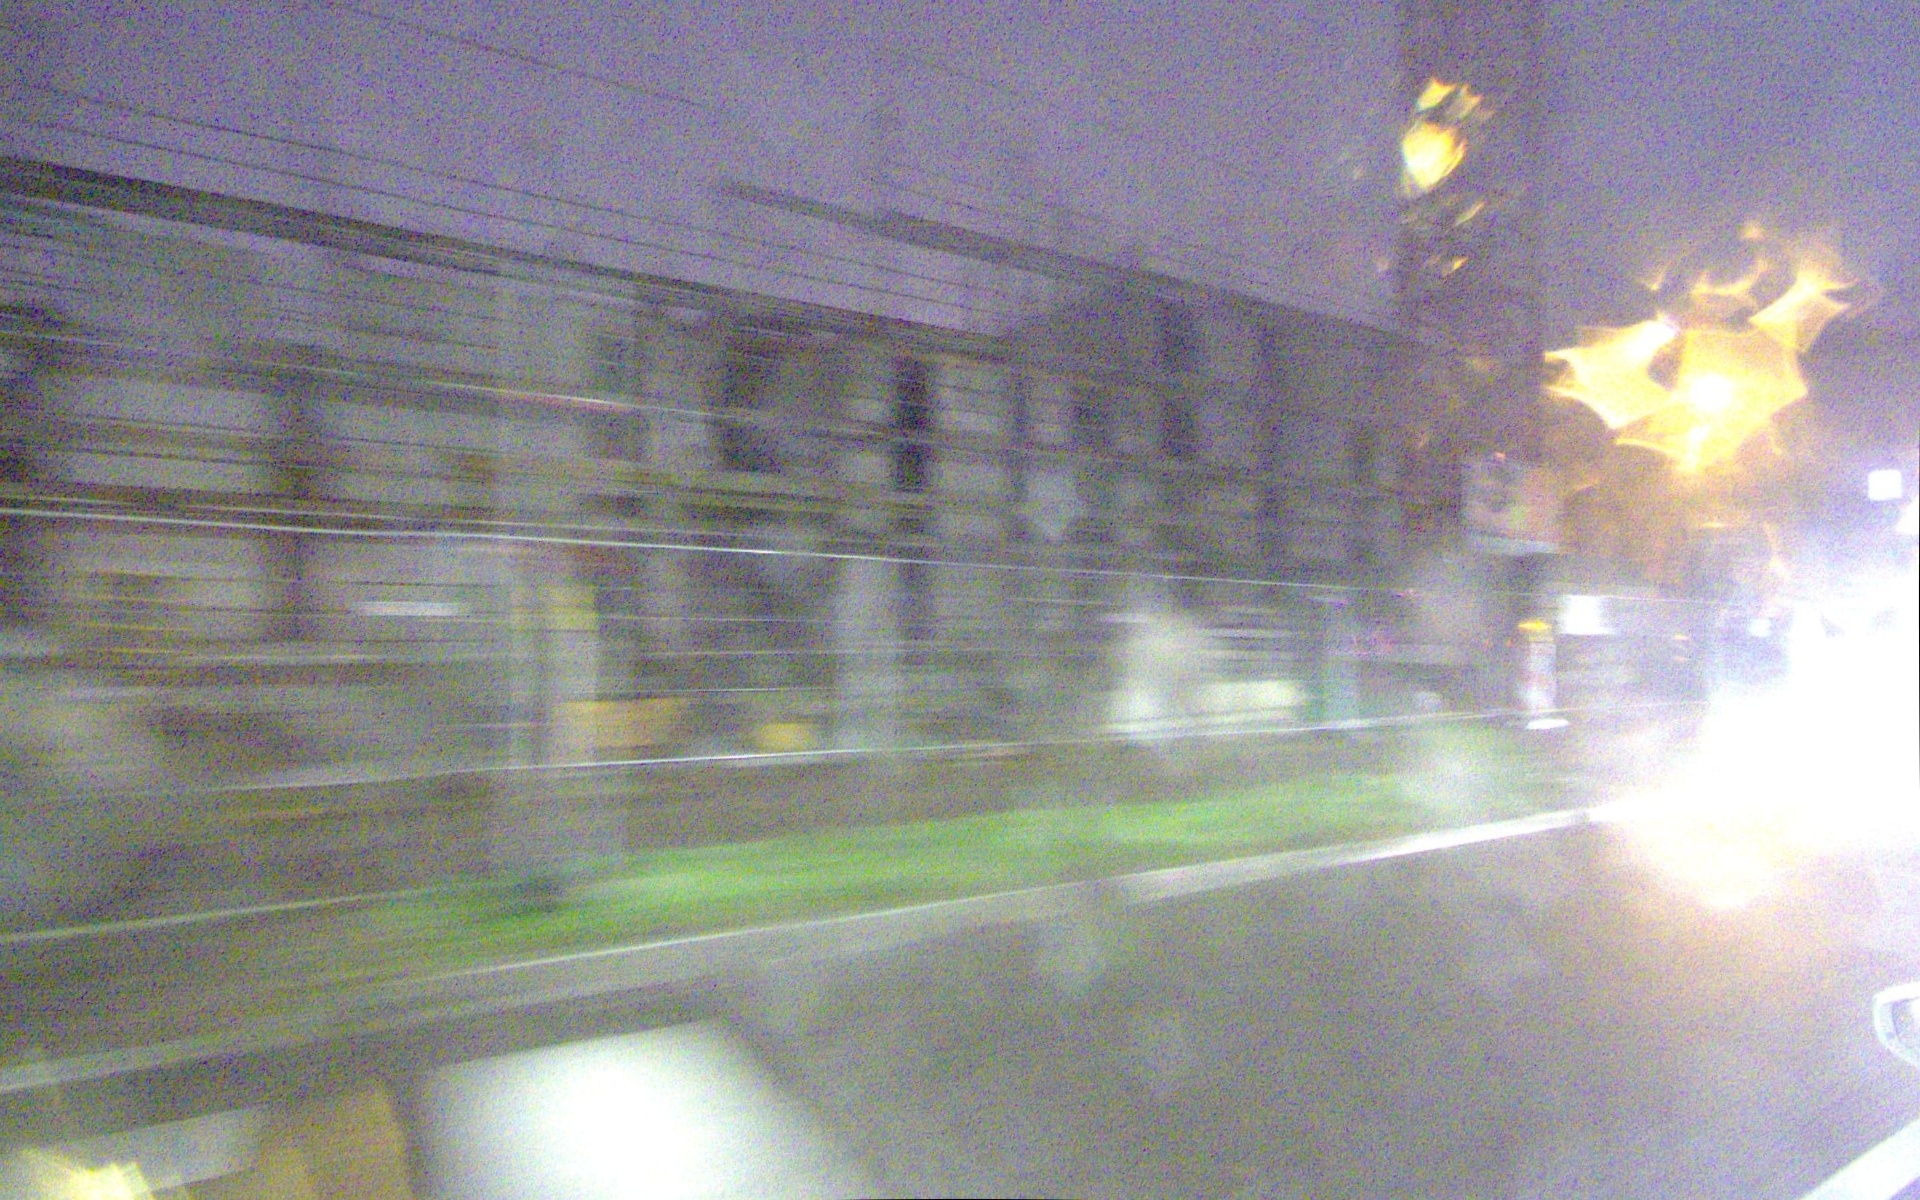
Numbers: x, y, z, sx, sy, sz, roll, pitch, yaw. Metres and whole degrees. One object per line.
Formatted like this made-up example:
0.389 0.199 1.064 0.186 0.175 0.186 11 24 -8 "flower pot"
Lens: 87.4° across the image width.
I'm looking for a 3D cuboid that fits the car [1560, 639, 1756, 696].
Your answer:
21.724 2.072 31.478 1.977 1.640 4.668 2 -3 -30 "car"
